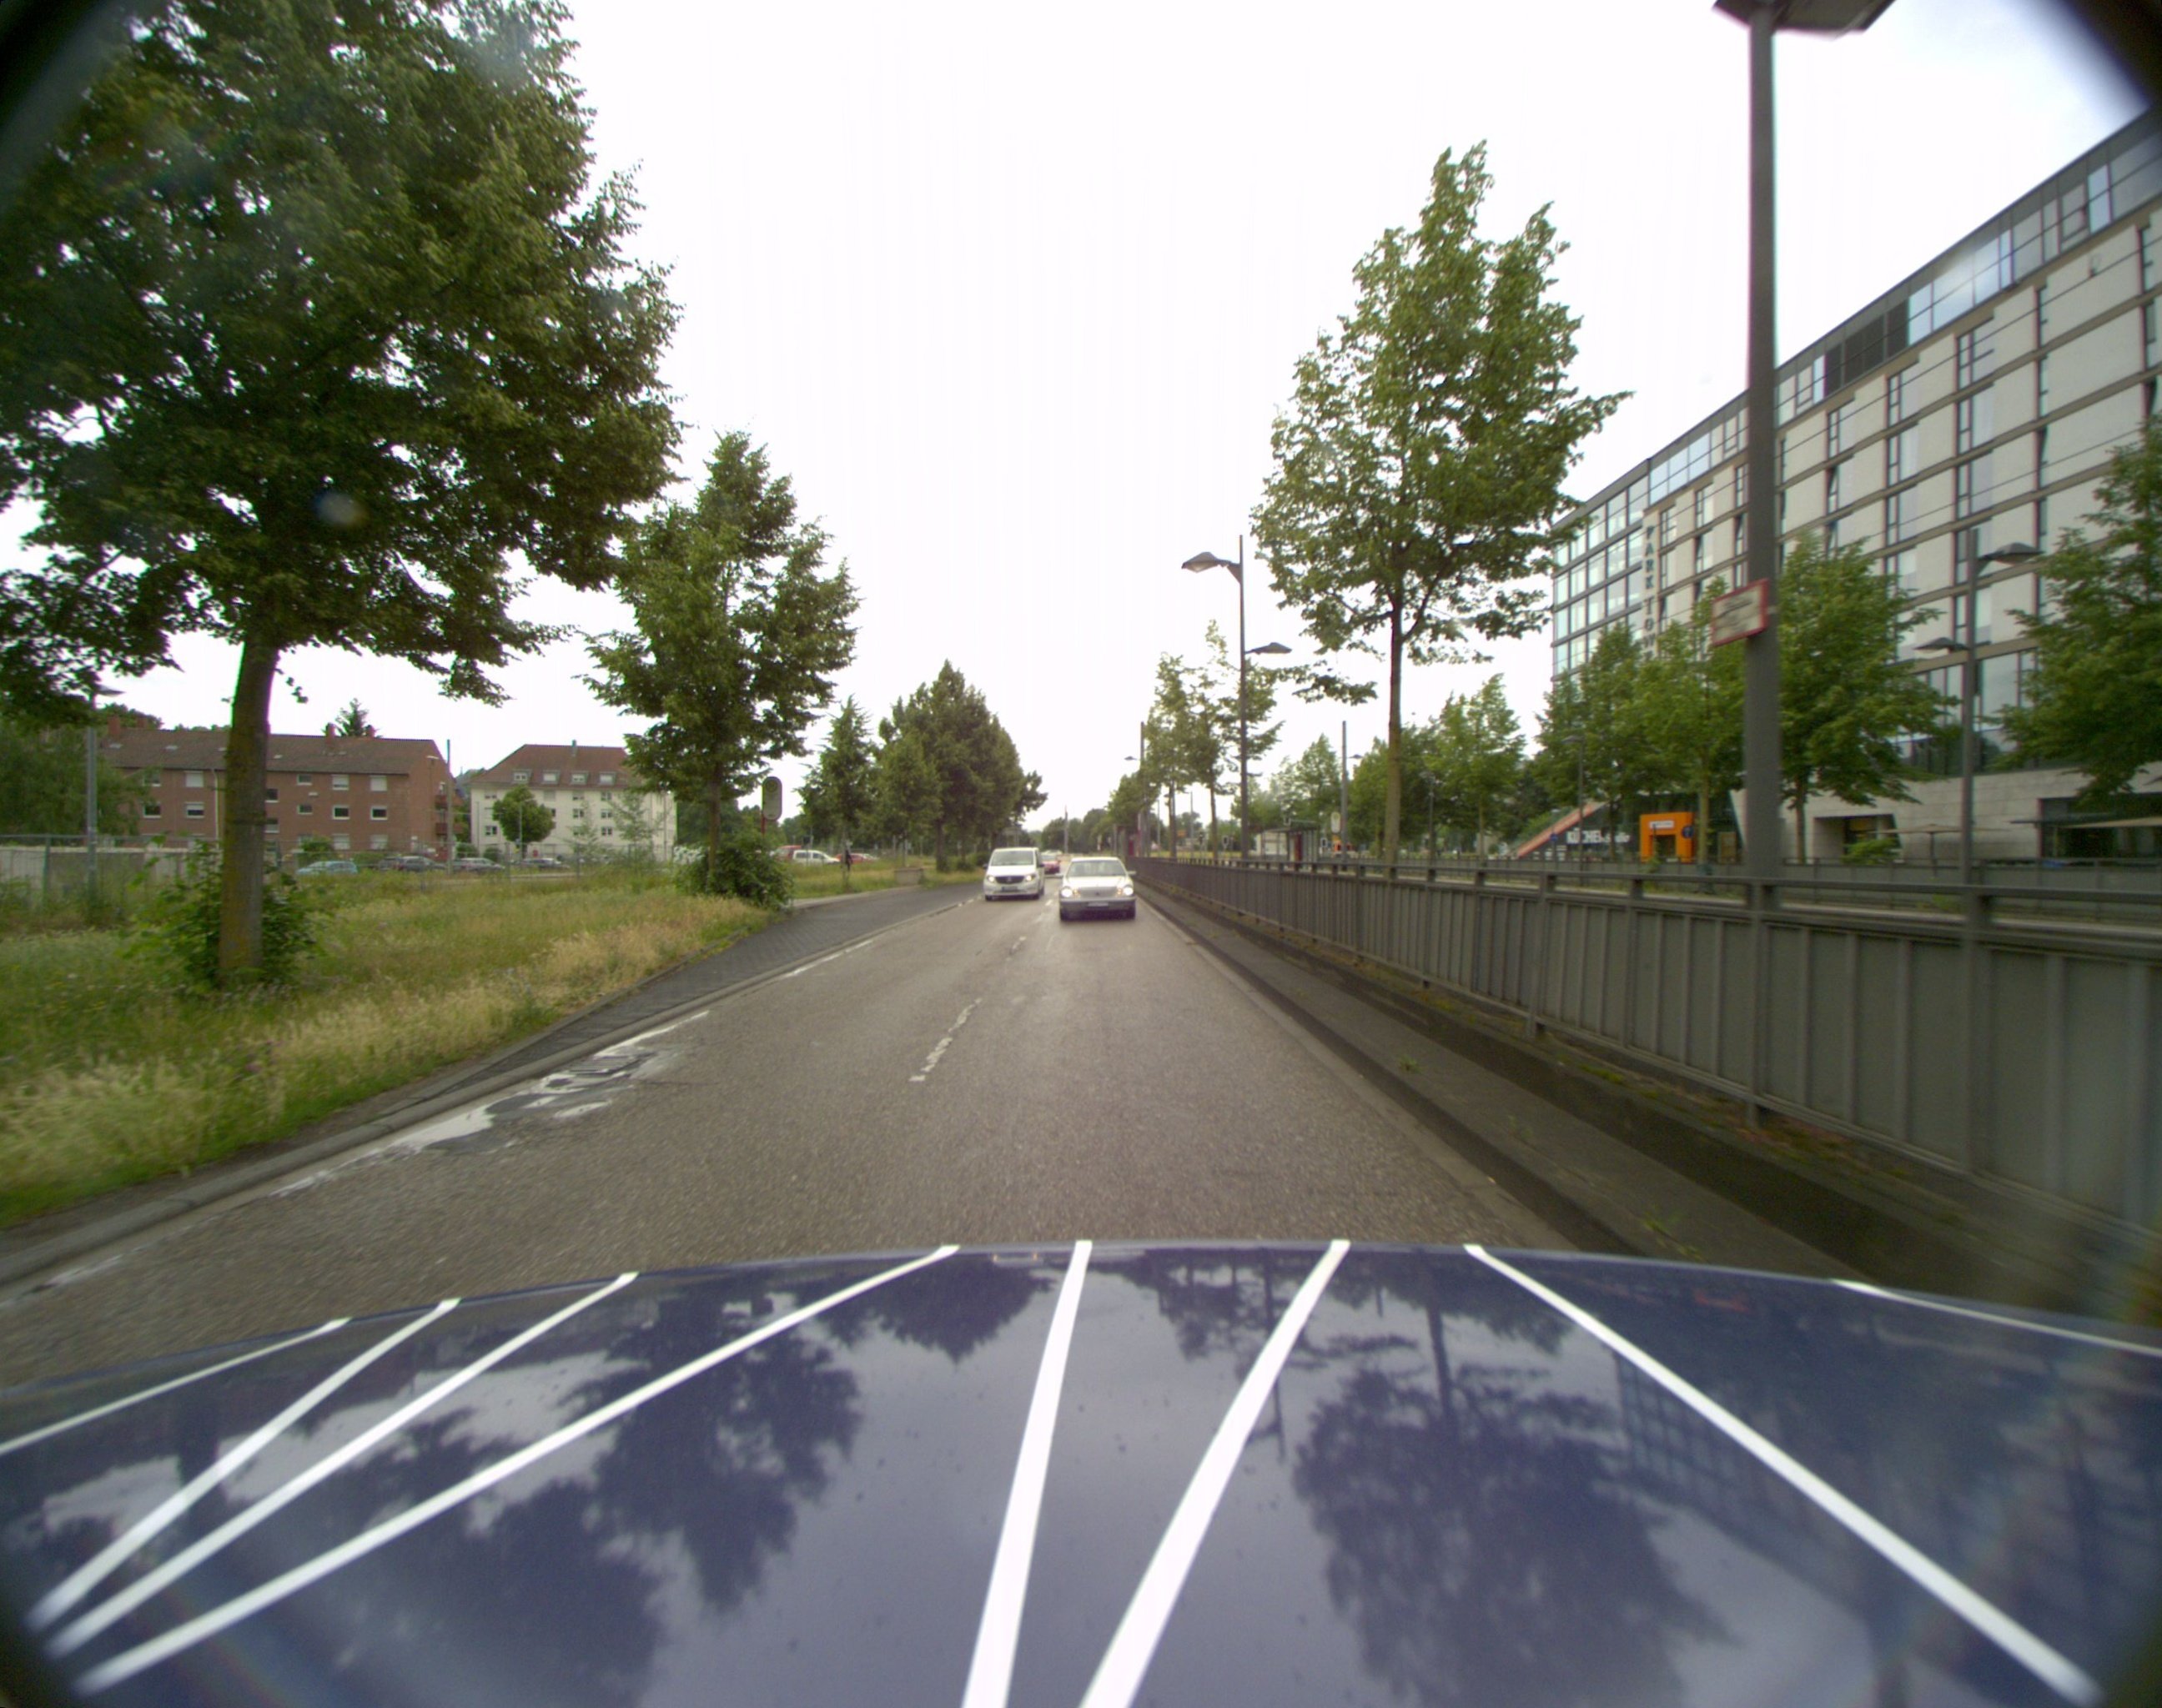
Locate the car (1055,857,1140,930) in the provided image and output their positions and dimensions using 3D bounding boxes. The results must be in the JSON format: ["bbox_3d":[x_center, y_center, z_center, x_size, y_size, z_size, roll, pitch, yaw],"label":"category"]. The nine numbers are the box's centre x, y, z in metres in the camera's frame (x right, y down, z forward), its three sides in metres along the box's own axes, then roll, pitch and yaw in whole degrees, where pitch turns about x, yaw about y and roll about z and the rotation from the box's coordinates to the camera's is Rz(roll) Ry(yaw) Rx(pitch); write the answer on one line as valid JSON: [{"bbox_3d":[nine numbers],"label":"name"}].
[{"bbox_3d":[0.382,0.833,18.100,1.738,1.451,4.607,-1,0,1],"label":"car"}]

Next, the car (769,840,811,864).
[{"bbox_3d":[-29.541,-0.209,77.237,1.996,2.297,4.004,-1,0,13],"label":"car"}]

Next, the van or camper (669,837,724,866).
[{"bbox_3d":[-42.143,-0.267,83.508,2.343,3.017,5.514,-2,1,11],"label":"van or camper"}]

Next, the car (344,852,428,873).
[{"bbox_3d":[-48.153,0.534,52.771,2.000,1.379,4.565,-1,0,-7],"label":"car"}]

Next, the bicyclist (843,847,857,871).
[{"bbox_3d":[-14.489,0.322,47.650,0.537,1.497,0.841,0,1,3],"label":"bicyclist"}]

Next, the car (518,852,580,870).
[{"bbox_3d":[-47.807,0.574,68.355,1.995,1.444,4.006,-2,1,27],"label":"car"}]

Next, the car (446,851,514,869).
[{"bbox_3d":[-49.039,0.475,62.121,1.997,1.364,4.003,-2,1,10],"label":"car"}]

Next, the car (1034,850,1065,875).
[{"bbox_3d":[-2.096,0.551,51.973,1.799,1.603,4.245,0,1,2],"label":"car"}]

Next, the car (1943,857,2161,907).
[{"bbox_3d":[29.286,0.784,22.982,1.998,1.281,3.859,-1,1,0],"label":"car"}]

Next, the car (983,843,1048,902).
[{"bbox_3d":[-2.315,0.592,28.289,1.972,1.968,5.090,-1,1,0],"label":"car"}]

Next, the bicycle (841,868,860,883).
[{"bbox_3d":[-14.472,1.313,47.709,0.548,0.873,1.745,0,1,3],"label":"bicycle"}]

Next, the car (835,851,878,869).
[{"bbox_3d":[-22.924,0.580,77.593,3.802,1.696,1.680,-2,1,6],"label":"car"}]

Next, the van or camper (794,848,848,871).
[{"bbox_3d":[-24.052,0.514,70.417,4.334,2.002,1.860,-1,1,-6],"label":"van or camper"}]
